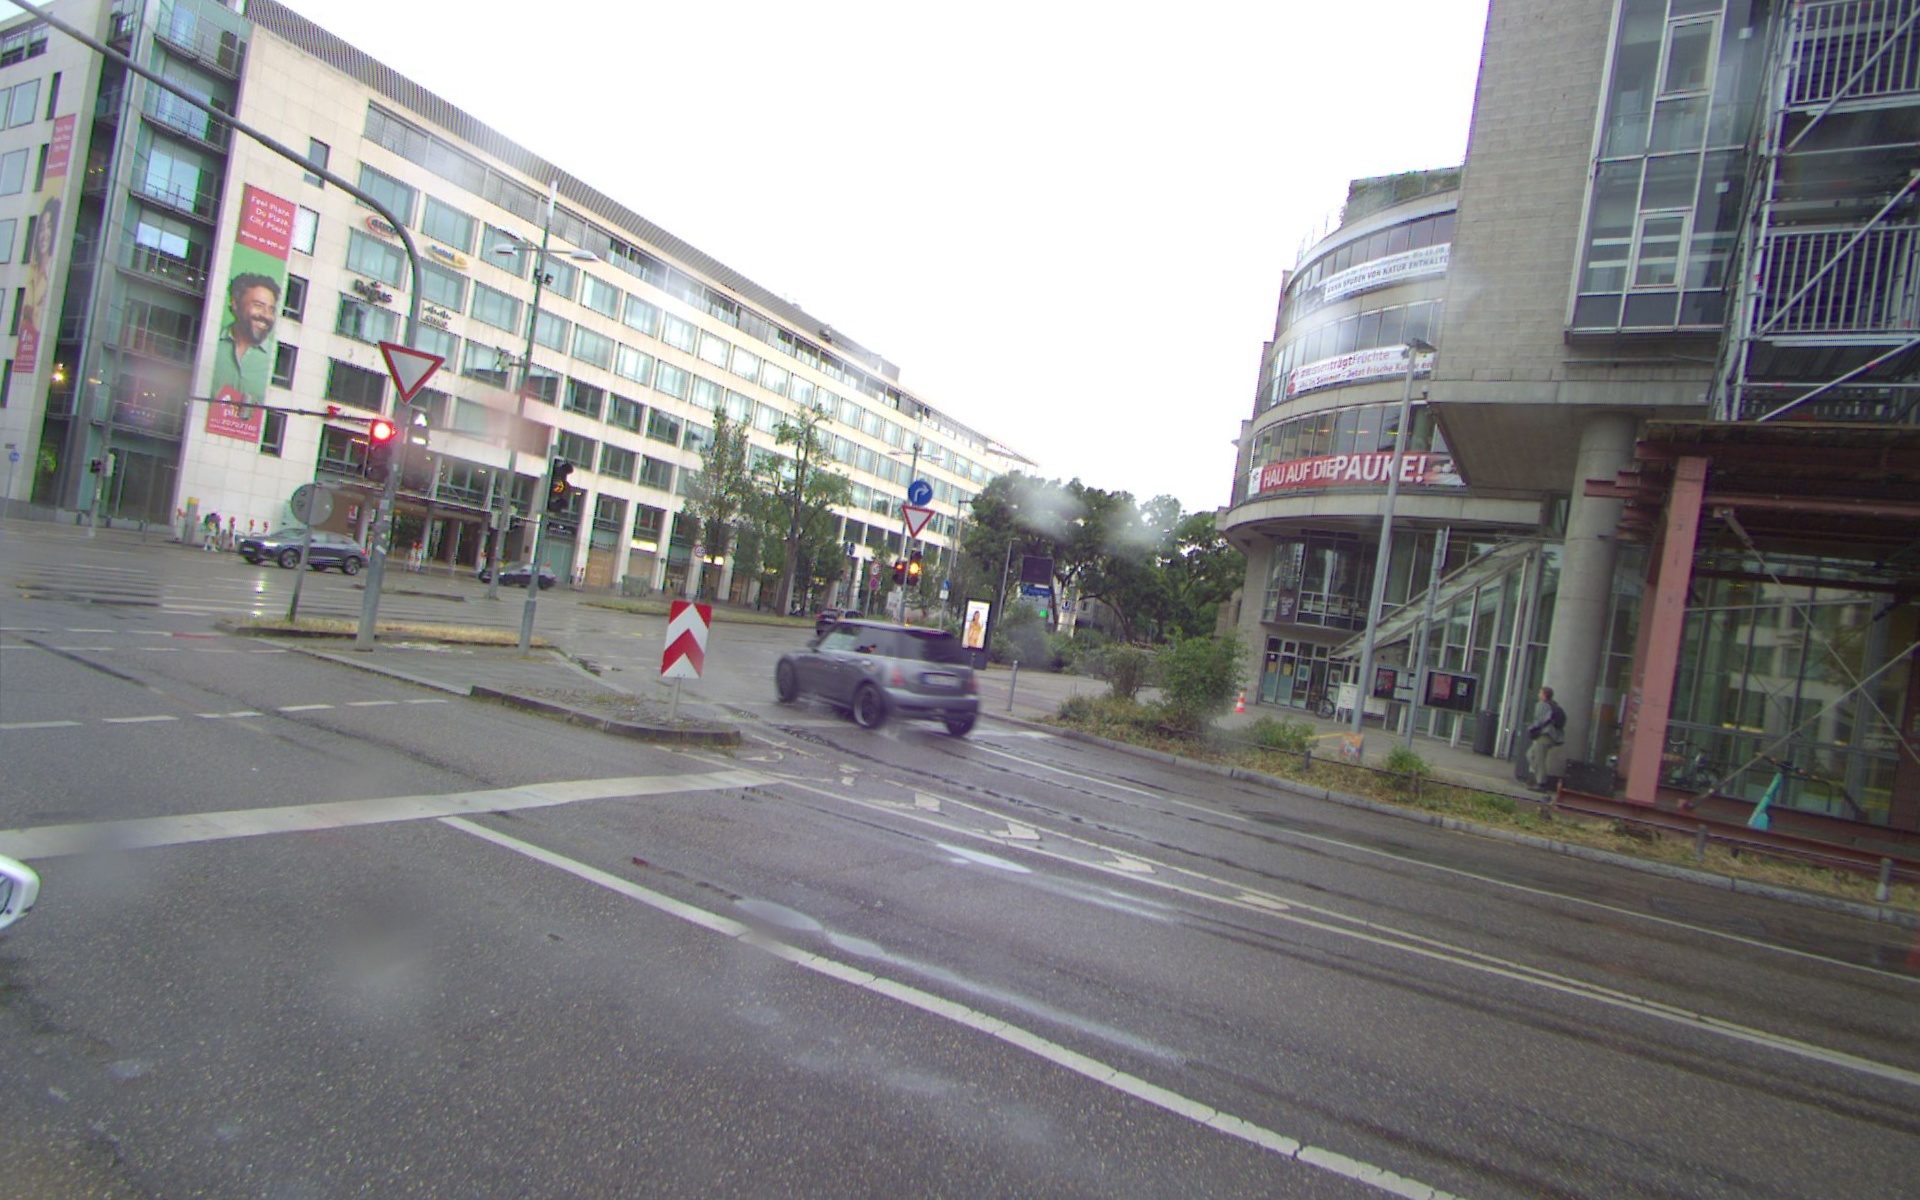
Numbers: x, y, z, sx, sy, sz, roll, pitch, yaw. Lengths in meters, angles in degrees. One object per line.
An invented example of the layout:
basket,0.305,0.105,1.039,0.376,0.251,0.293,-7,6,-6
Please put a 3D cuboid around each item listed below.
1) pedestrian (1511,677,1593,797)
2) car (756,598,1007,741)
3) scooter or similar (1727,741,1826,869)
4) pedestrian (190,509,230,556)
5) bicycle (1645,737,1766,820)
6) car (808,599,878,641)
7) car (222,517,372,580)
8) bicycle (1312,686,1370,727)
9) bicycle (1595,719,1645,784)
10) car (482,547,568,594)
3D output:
pedestrian,9.631,2.211,16.392,0.776,1.796,0.781,7,-1,13
car,-1.240,0.935,14.425,1.731,1.473,3.682,8,0,-38
scooter or similar,9.223,2.269,11.413,0.577,1.208,1.780,7,-1,34
pedestrian,-32.321,-2.922,43.354,0.822,1.838,0.963,6,-1,31
bicycle,13.486,3.225,18.225,1.584,1.208,0.587,7,-1,6
car,-5.891,1.066,51.147,1.899,1.715,4.003,7,-1,17
car,-24.797,-1.887,37.845,1.797,1.627,4.494,7,-2,16
bicycle,13.454,3.749,35.526,1.753,1.208,0.586,6,-1,29
bicycle,13.697,3.124,20.903,0.576,1.208,1.614,7,-2,27
car,-24.639,-1.636,57.175,1.520,2.036,4.673,7,-2,19
